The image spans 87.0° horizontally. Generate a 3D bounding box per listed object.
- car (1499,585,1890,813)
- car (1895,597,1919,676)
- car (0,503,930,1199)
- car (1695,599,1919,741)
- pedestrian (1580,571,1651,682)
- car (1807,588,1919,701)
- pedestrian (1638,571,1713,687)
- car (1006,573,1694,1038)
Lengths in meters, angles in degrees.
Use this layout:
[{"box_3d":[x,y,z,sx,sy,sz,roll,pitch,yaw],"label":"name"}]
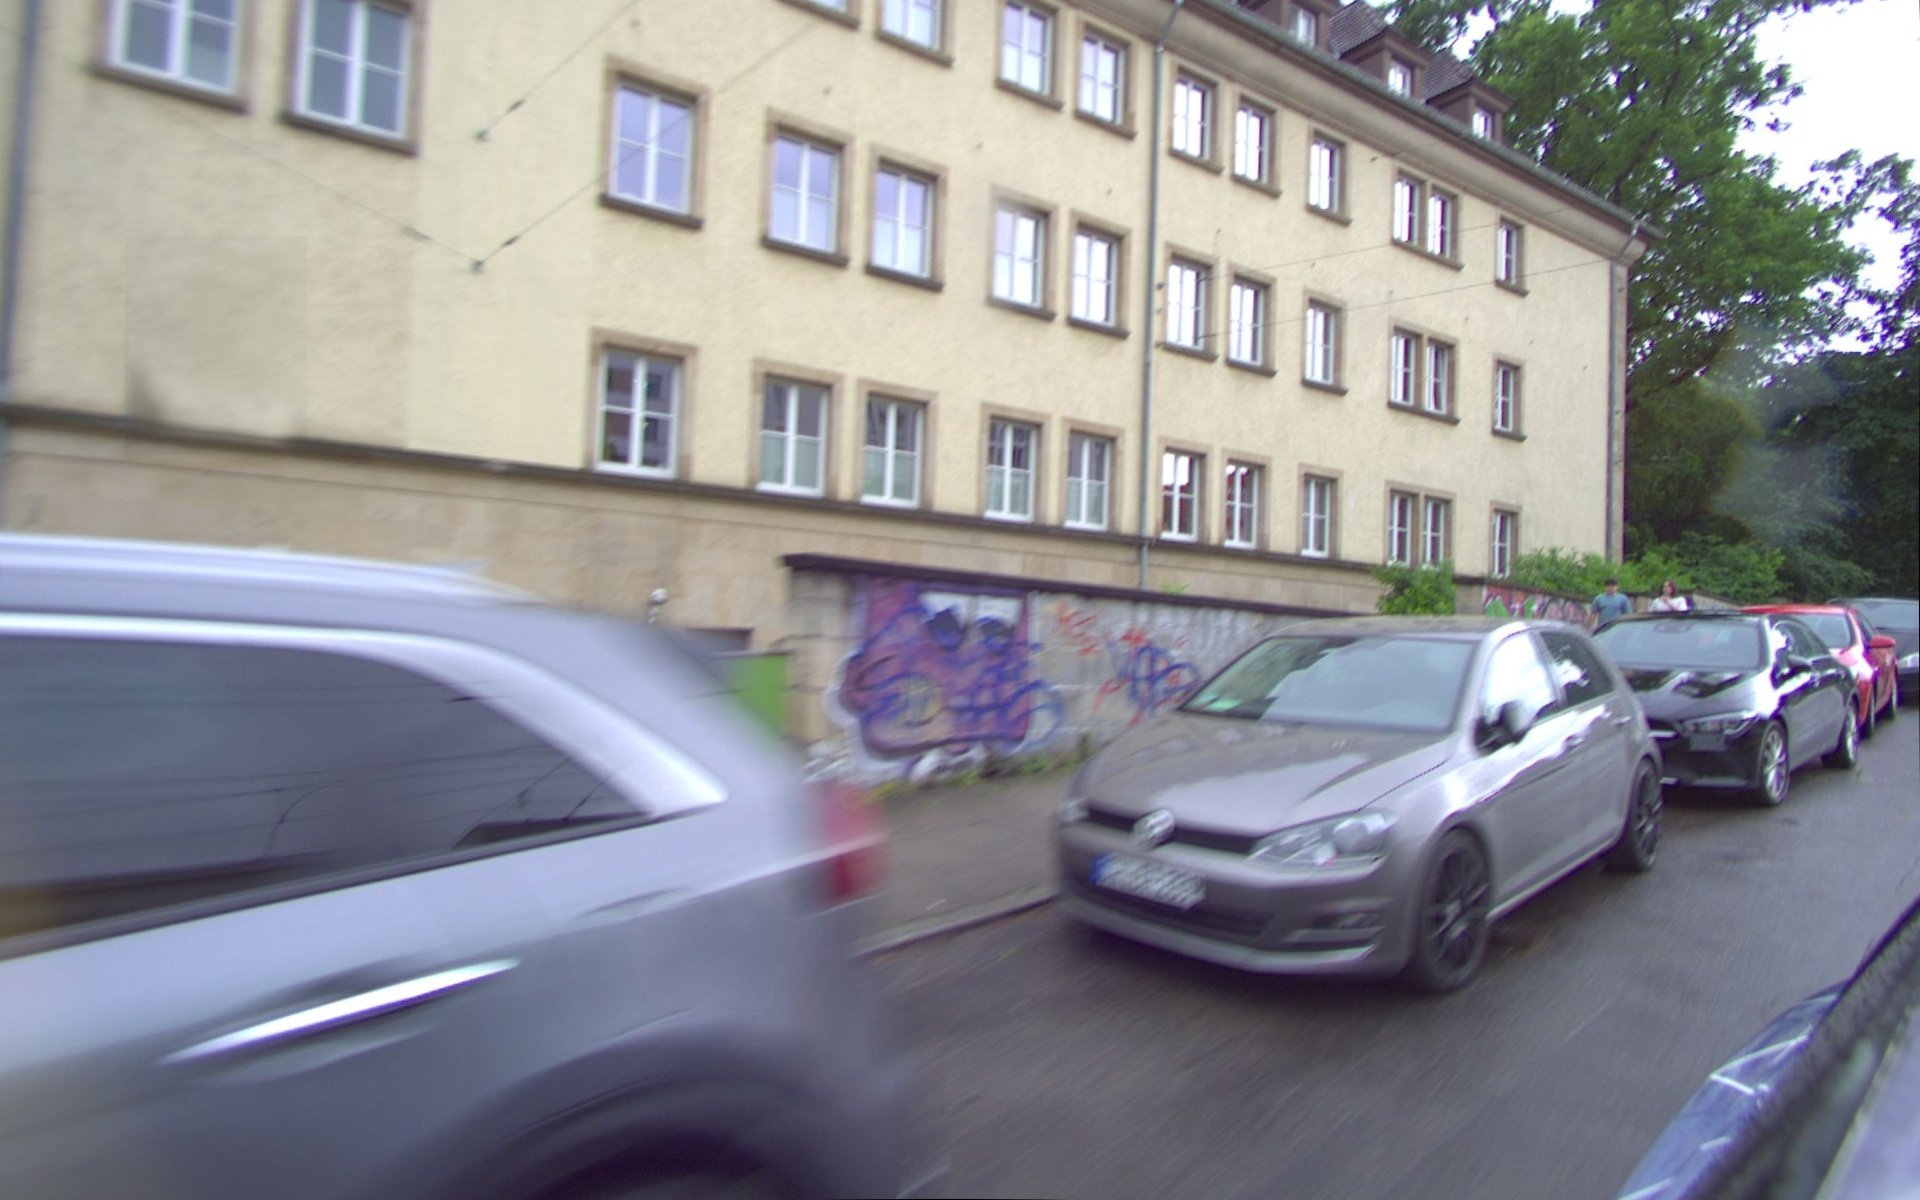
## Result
[{"box_3d":[6.513,0.659,8.781,4.377,1.495,1.669,0,1,-39],"label":"car"},{"box_3d":[19.362,0.696,19.230,3.573,1.434,1.542,0,1,-34],"label":"car"},{"box_3d":[-2.114,0.657,1.007,4.037,1.543,1.668,0,1,-42],"label":"car"},{"box_3d":[10.678,0.748,12.659,3.998,1.495,1.667,0,-1,-43],"label":"car"},{"box_3d":[10.843,0.425,16.758,0.724,1.777,0.721,1,0,-30],"label":"pedestrian"},{"box_3d":[14.897,0.641,15.981,3.787,1.593,1.669,0,1,-40],"label":"car"},{"box_3d":[11.298,0.441,15.986,0.724,1.777,0.721,1,0,-30],"label":"pedestrian"},{"box_3d":[2.267,0.651,5.245,4.038,1.495,1.668,0,1,-42],"label":"car"}]
